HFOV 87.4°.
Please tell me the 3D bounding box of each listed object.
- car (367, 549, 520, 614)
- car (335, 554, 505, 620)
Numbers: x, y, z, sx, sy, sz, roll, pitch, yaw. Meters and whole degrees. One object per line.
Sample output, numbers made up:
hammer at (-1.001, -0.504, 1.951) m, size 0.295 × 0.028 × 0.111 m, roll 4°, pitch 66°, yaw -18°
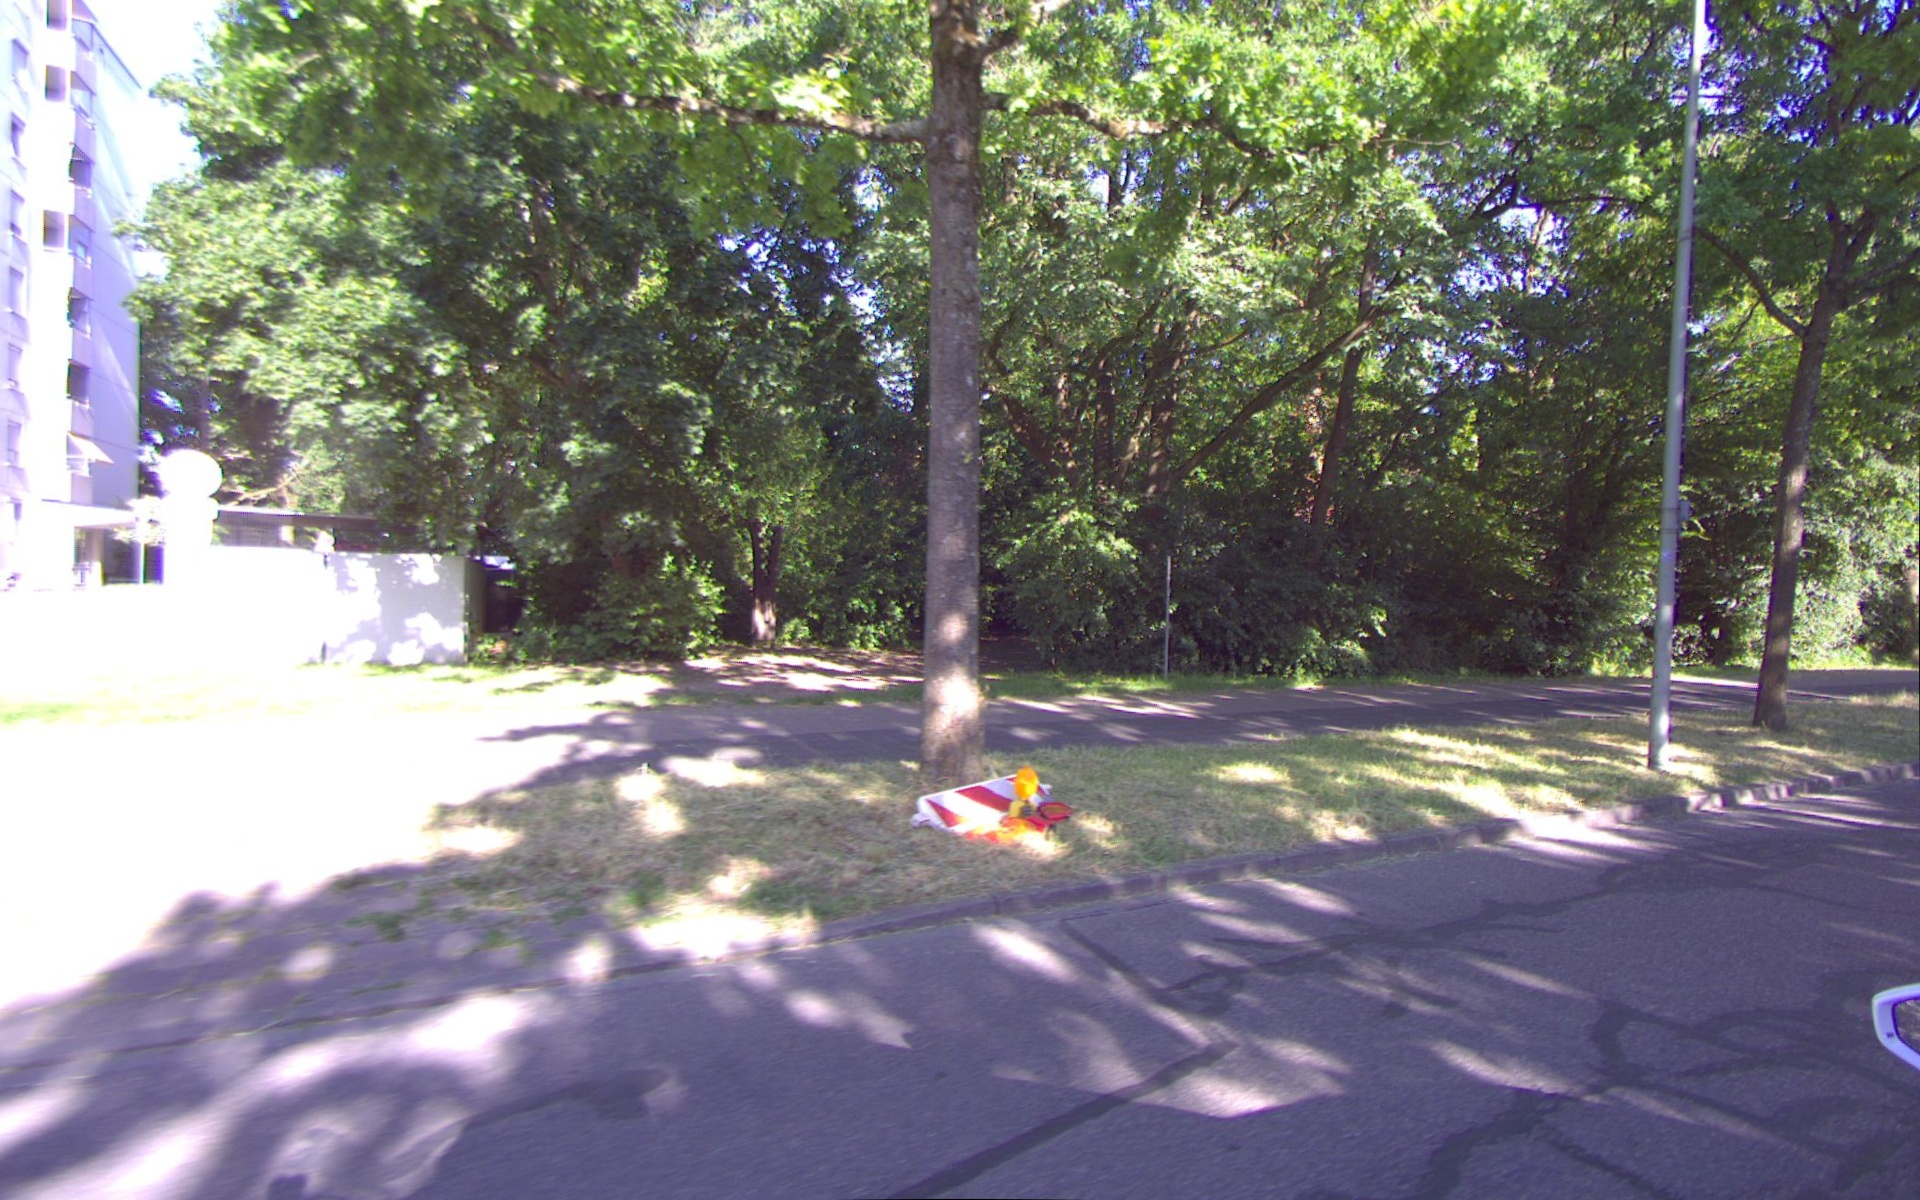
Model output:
car at (-18.463, -0.640, 36.178) m, size 4.763 × 2.160 × 1.987 m, roll 1°, pitch 1°, yaw -25°
car at (-15.664, -0.349, 29.266) m, size 4.204 × 1.777 × 1.984 m, roll 1°, pitch 1°, yaw -30°
